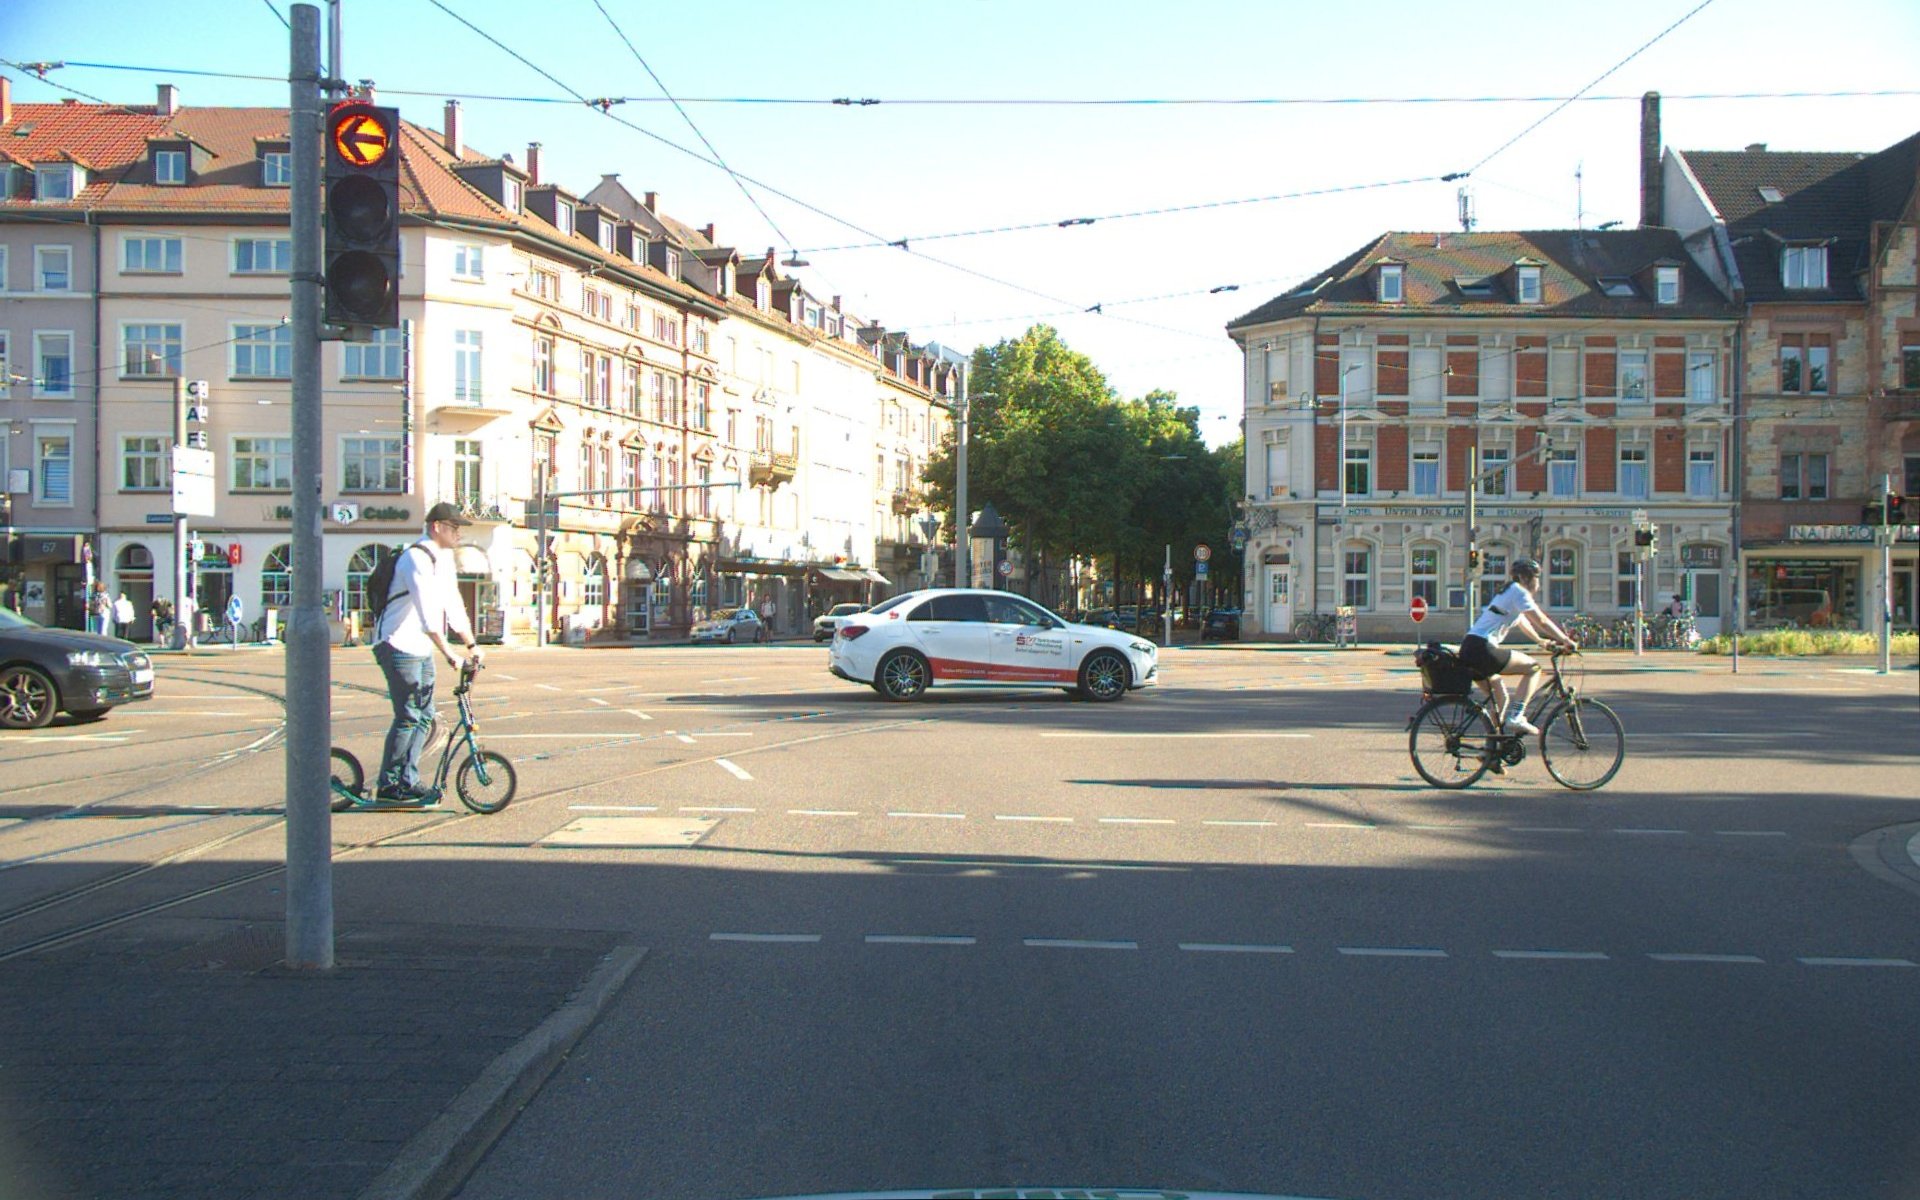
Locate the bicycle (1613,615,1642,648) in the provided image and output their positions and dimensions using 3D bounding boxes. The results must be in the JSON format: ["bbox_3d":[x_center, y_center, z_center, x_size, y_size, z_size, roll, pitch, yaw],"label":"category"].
[{"bbox_3d":[21.609,1.009,53.547,0.476,1.038,1.785,0,0,9],"label":"bicycle"}]

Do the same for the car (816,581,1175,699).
[{"bbox_3d":[0.430,0.524,22.252,4.585,1.499,1.737,1,0,-10],"label":"car"}]

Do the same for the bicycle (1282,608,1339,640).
[{"bbox_3d":[12.173,0.827,57.509,1.911,1.072,0.716,0,0,9],"label":"bicycle"}]

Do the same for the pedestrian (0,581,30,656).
[{"bbox_3d":[-23.093,0.452,40.301,0.549,1.817,0.559,0,0,-6],"label":"pedestrian"}]

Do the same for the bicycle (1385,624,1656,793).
[{"bbox_3d":[4.357,0.821,12.910,1.886,1.244,0.741,0,0,-8],"label":"bicycle"}]

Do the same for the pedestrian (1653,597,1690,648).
[{"bbox_3d":[24.583,0.781,57.167,1.013,1.741,0.630,1,-1,8],"label":"pedestrian"}]

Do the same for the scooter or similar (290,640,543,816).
[{"bbox_3d":[-3.400,0.789,10.408,1.402,1.062,0.565,0,0,-2],"label":"scooter or similar"}]

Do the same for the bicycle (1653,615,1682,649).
[{"bbox_3d":[22.902,1.031,53.555,0.476,1.038,1.785,0,0,9],"label":"bicycle"}]

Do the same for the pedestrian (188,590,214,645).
[{"bbox_3d":[-23.738,0.545,51.693,0.731,1.711,0.623,0,0,-26],"label":"pedestrian"}]

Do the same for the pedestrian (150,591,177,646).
[{"bbox_3d":[-24.956,0.582,51.833,0.731,1.711,0.623,0,0,-26],"label":"pedestrian"}]

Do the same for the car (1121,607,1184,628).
[{"bbox_3d":[12.318,1.133,105.558,3.902,1.311,1.696,0,0,10],"label":"car"}]

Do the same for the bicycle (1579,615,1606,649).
[{"bbox_3d":[20.470,1.022,53.570,0.476,1.038,1.785,0,0,9],"label":"bicycle"}]

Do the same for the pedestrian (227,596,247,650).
[{"bbox_3d":[-17.248,0.543,39.446,0.358,1.275,0.449,0,0,-12],"label":"pedestrian"}]

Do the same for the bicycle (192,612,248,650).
[{"bbox_3d":[-25.144,1.048,56.230,1.684,1.299,0.385,0,0,-18],"label":"bicycle"}]

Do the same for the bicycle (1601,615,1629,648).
[{"bbox_3d":[21.160,1.001,53.479,0.476,1.038,1.785,0,0,9],"label":"bicycle"}]

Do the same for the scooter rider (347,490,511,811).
[{"bbox_3d":[-3.331,0.304,10.429,0.779,1.945,0.797,0,0,-1],"label":"scooter rider"}]

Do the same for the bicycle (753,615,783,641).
[{"bbox_3d":[-7.558,1.095,65.164,0.641,1.018,1.666,1,0,11],"label":"bicycle"}]

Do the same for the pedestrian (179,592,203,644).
[{"bbox_3d":[-25.510,0.583,54.854,0.731,1.711,0.623,0,0,-26],"label":"pedestrian"}]

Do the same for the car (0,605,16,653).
[{"bbox_3d":[-32.136,0.899,52.154,3.651,1.517,1.818,1,0,2],"label":"car"}]

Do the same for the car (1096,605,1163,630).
[{"bbox_3d":[10.250,1.032,99.819,3.902,1.480,1.683,0,0,10],"label":"car"}]

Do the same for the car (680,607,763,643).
[{"bbox_3d":[-9.601,0.981,66.878,1.951,1.385,3.821,0,0,15],"label":"car"}]

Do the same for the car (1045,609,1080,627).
[{"bbox_3d":[8.145,1.423,131.504,1.951,1.429,4.172,0,0,15],"label":"car"}]

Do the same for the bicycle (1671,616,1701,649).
[{"bbox_3d":[23.587,1.044,53.737,0.476,1.038,1.785,0,0,9],"label":"bicycle"}]

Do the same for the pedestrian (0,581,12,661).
[{"bbox_3d":[-22.878,0.490,38.881,0.751,1.861,0.722,0,0,-1],"label":"pedestrian"}]

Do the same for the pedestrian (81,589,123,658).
[{"bbox_3d":[-21.412,0.570,41.271,0.725,1.711,0.628,0,0,-1],"label":"pedestrian"}]

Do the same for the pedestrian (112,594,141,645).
[{"bbox_3d":[-28.108,0.664,55.807,0.727,1.711,0.626,0,0,-12],"label":"pedestrian"}]

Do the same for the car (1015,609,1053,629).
[{"bbox_3d":[5.477,1.369,122.636,1.951,1.429,4.172,0,0,15],"label":"car"}]

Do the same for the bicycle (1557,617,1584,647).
[{"bbox_3d":[19.801,1.015,53.647,0.476,0.930,1.785,0,0,9],"label":"bicycle"}]

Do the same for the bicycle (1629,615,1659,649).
[{"bbox_3d":[22.107,1.017,53.475,0.476,1.038,1.785,0,0,9],"label":"bicycle"}]

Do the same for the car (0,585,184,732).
[{"bbox_3d":[-10.389,0.585,16.801,4.190,1.405,1.643,-1,1,-8],"label":"car"}]

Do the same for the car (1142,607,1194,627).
[{"bbox_3d":[14.047,1.143,111.657,3.360,1.261,1.578,0,0,10],"label":"car"}]

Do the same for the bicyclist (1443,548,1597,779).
[{"bbox_3d":[4.362,0.479,12.922,0.921,1.743,0.732,0,0,-8],"label":"bicyclist"}]

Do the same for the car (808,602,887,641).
[{"bbox_3d":[-4.533,0.844,67.384,1.951,1.542,4.172,0,0,15],"label":"car"}]

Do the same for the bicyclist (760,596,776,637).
[{"bbox_3d":[-7.549,0.650,65.064,0.479,1.629,0.667,0,0,9],"label":"bicyclist"}]

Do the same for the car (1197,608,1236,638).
[{"bbox_3d":[12.853,1.137,82.701,1.717,1.445,4.003,0,0,12],"label":"car"}]

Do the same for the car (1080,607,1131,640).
[{"bbox_3d":[6.128,0.952,69.289,1.680,1.323,4.077,0,0,11],"label":"car"}]
